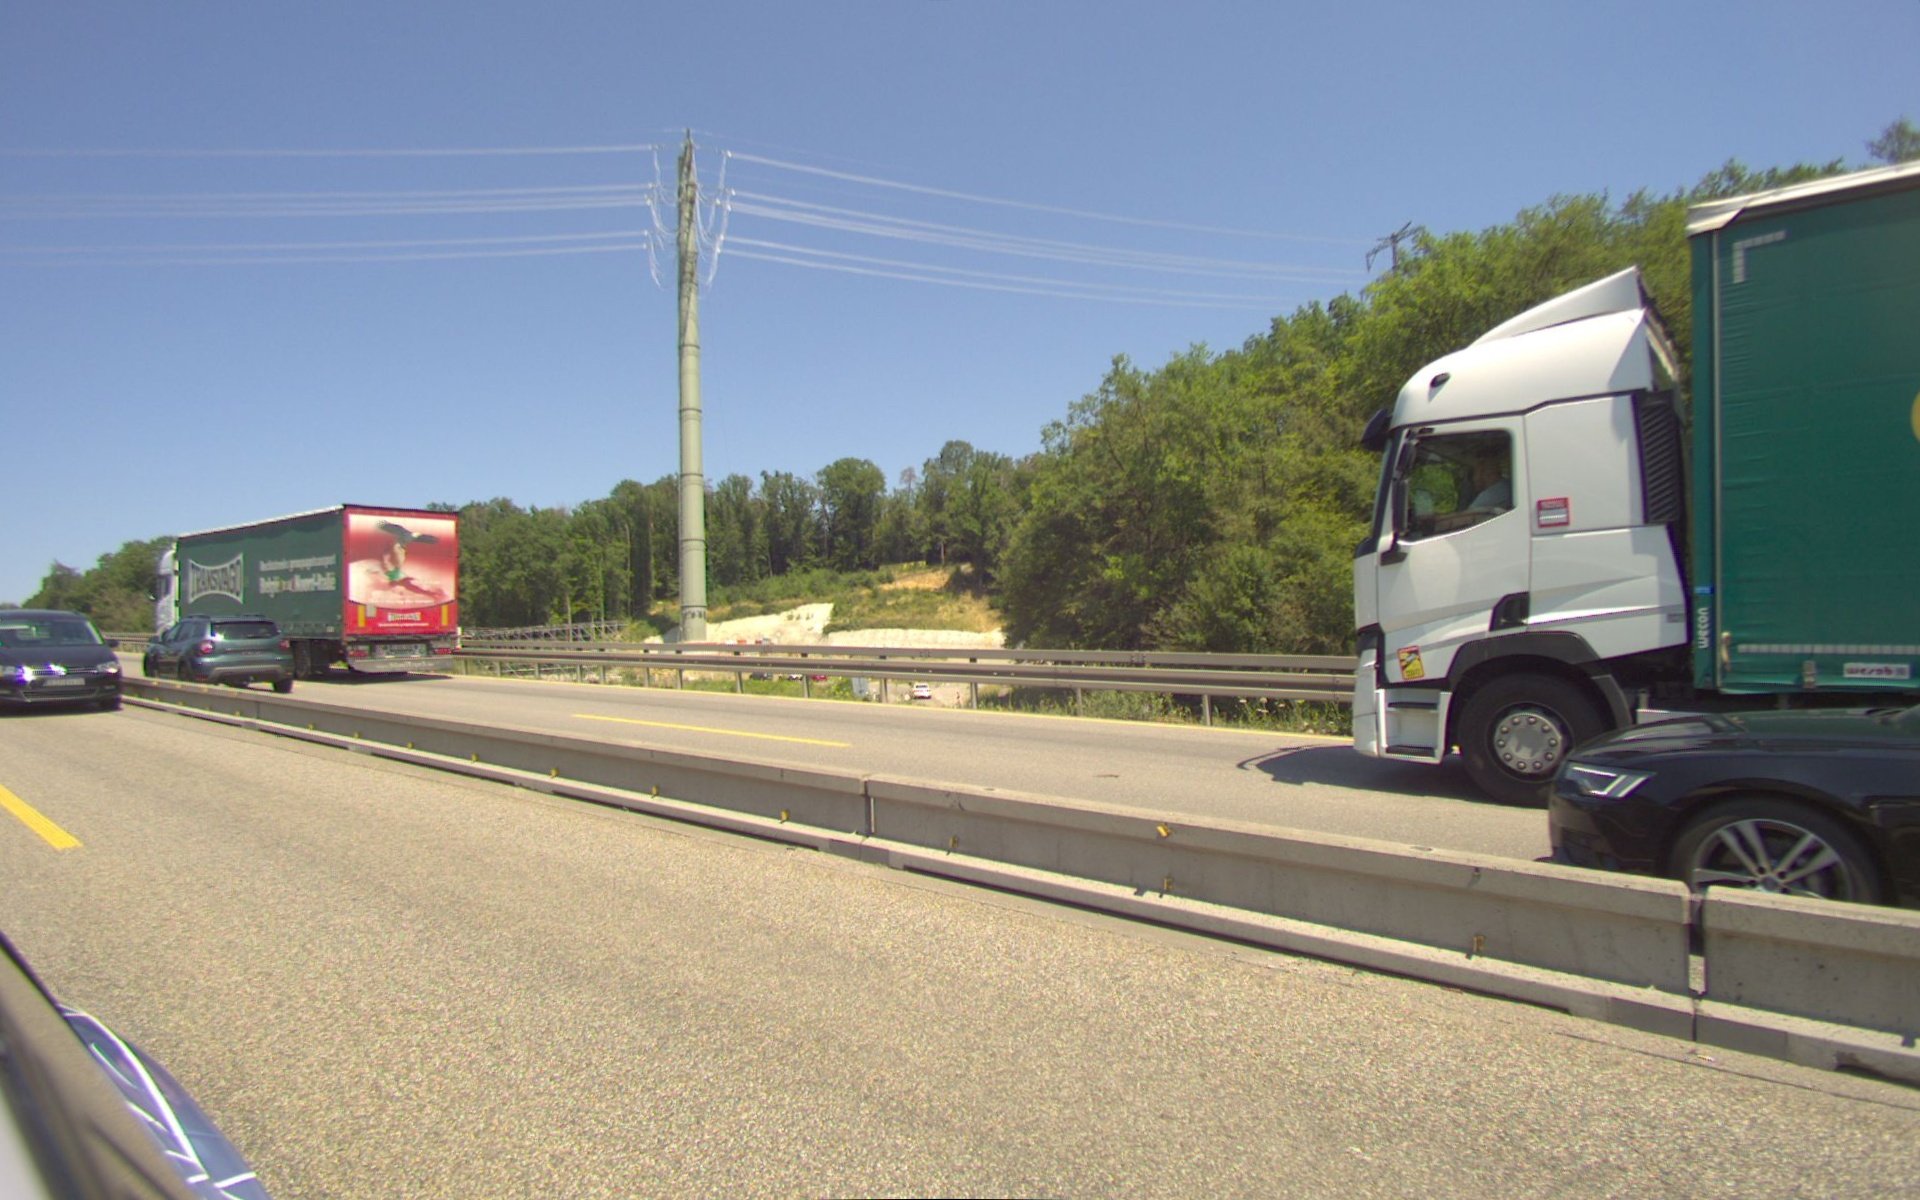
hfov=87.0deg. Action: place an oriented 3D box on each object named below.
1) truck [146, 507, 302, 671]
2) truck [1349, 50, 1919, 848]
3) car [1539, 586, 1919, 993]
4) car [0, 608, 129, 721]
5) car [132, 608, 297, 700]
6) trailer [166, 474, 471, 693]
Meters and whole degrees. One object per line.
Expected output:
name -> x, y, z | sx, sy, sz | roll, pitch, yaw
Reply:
truck -> -23.718, -0.263, 32.599 | 4.641, 4.858, 3.030 | -2, -1, 39
truck -> 6.175, -0.872, 7.169 | 5.785, 4.614, 2.817 | 0, 0, 41
car -> 4.962, 0.685, 3.627 | 4.754, 1.473, 1.882 | 0, 0, 41
car -> -16.233, 1.061, 17.548 | 5.298, 1.719, 1.838 | -2, -2, 39
car -> -15.432, 1.044, 20.880 | 4.112, 1.694, 1.936 | -1, -2, 42
trailer -> -18.281, -0.338, 28.045 | 13.990, 4.852, 3.034 | 0, 0, 40
